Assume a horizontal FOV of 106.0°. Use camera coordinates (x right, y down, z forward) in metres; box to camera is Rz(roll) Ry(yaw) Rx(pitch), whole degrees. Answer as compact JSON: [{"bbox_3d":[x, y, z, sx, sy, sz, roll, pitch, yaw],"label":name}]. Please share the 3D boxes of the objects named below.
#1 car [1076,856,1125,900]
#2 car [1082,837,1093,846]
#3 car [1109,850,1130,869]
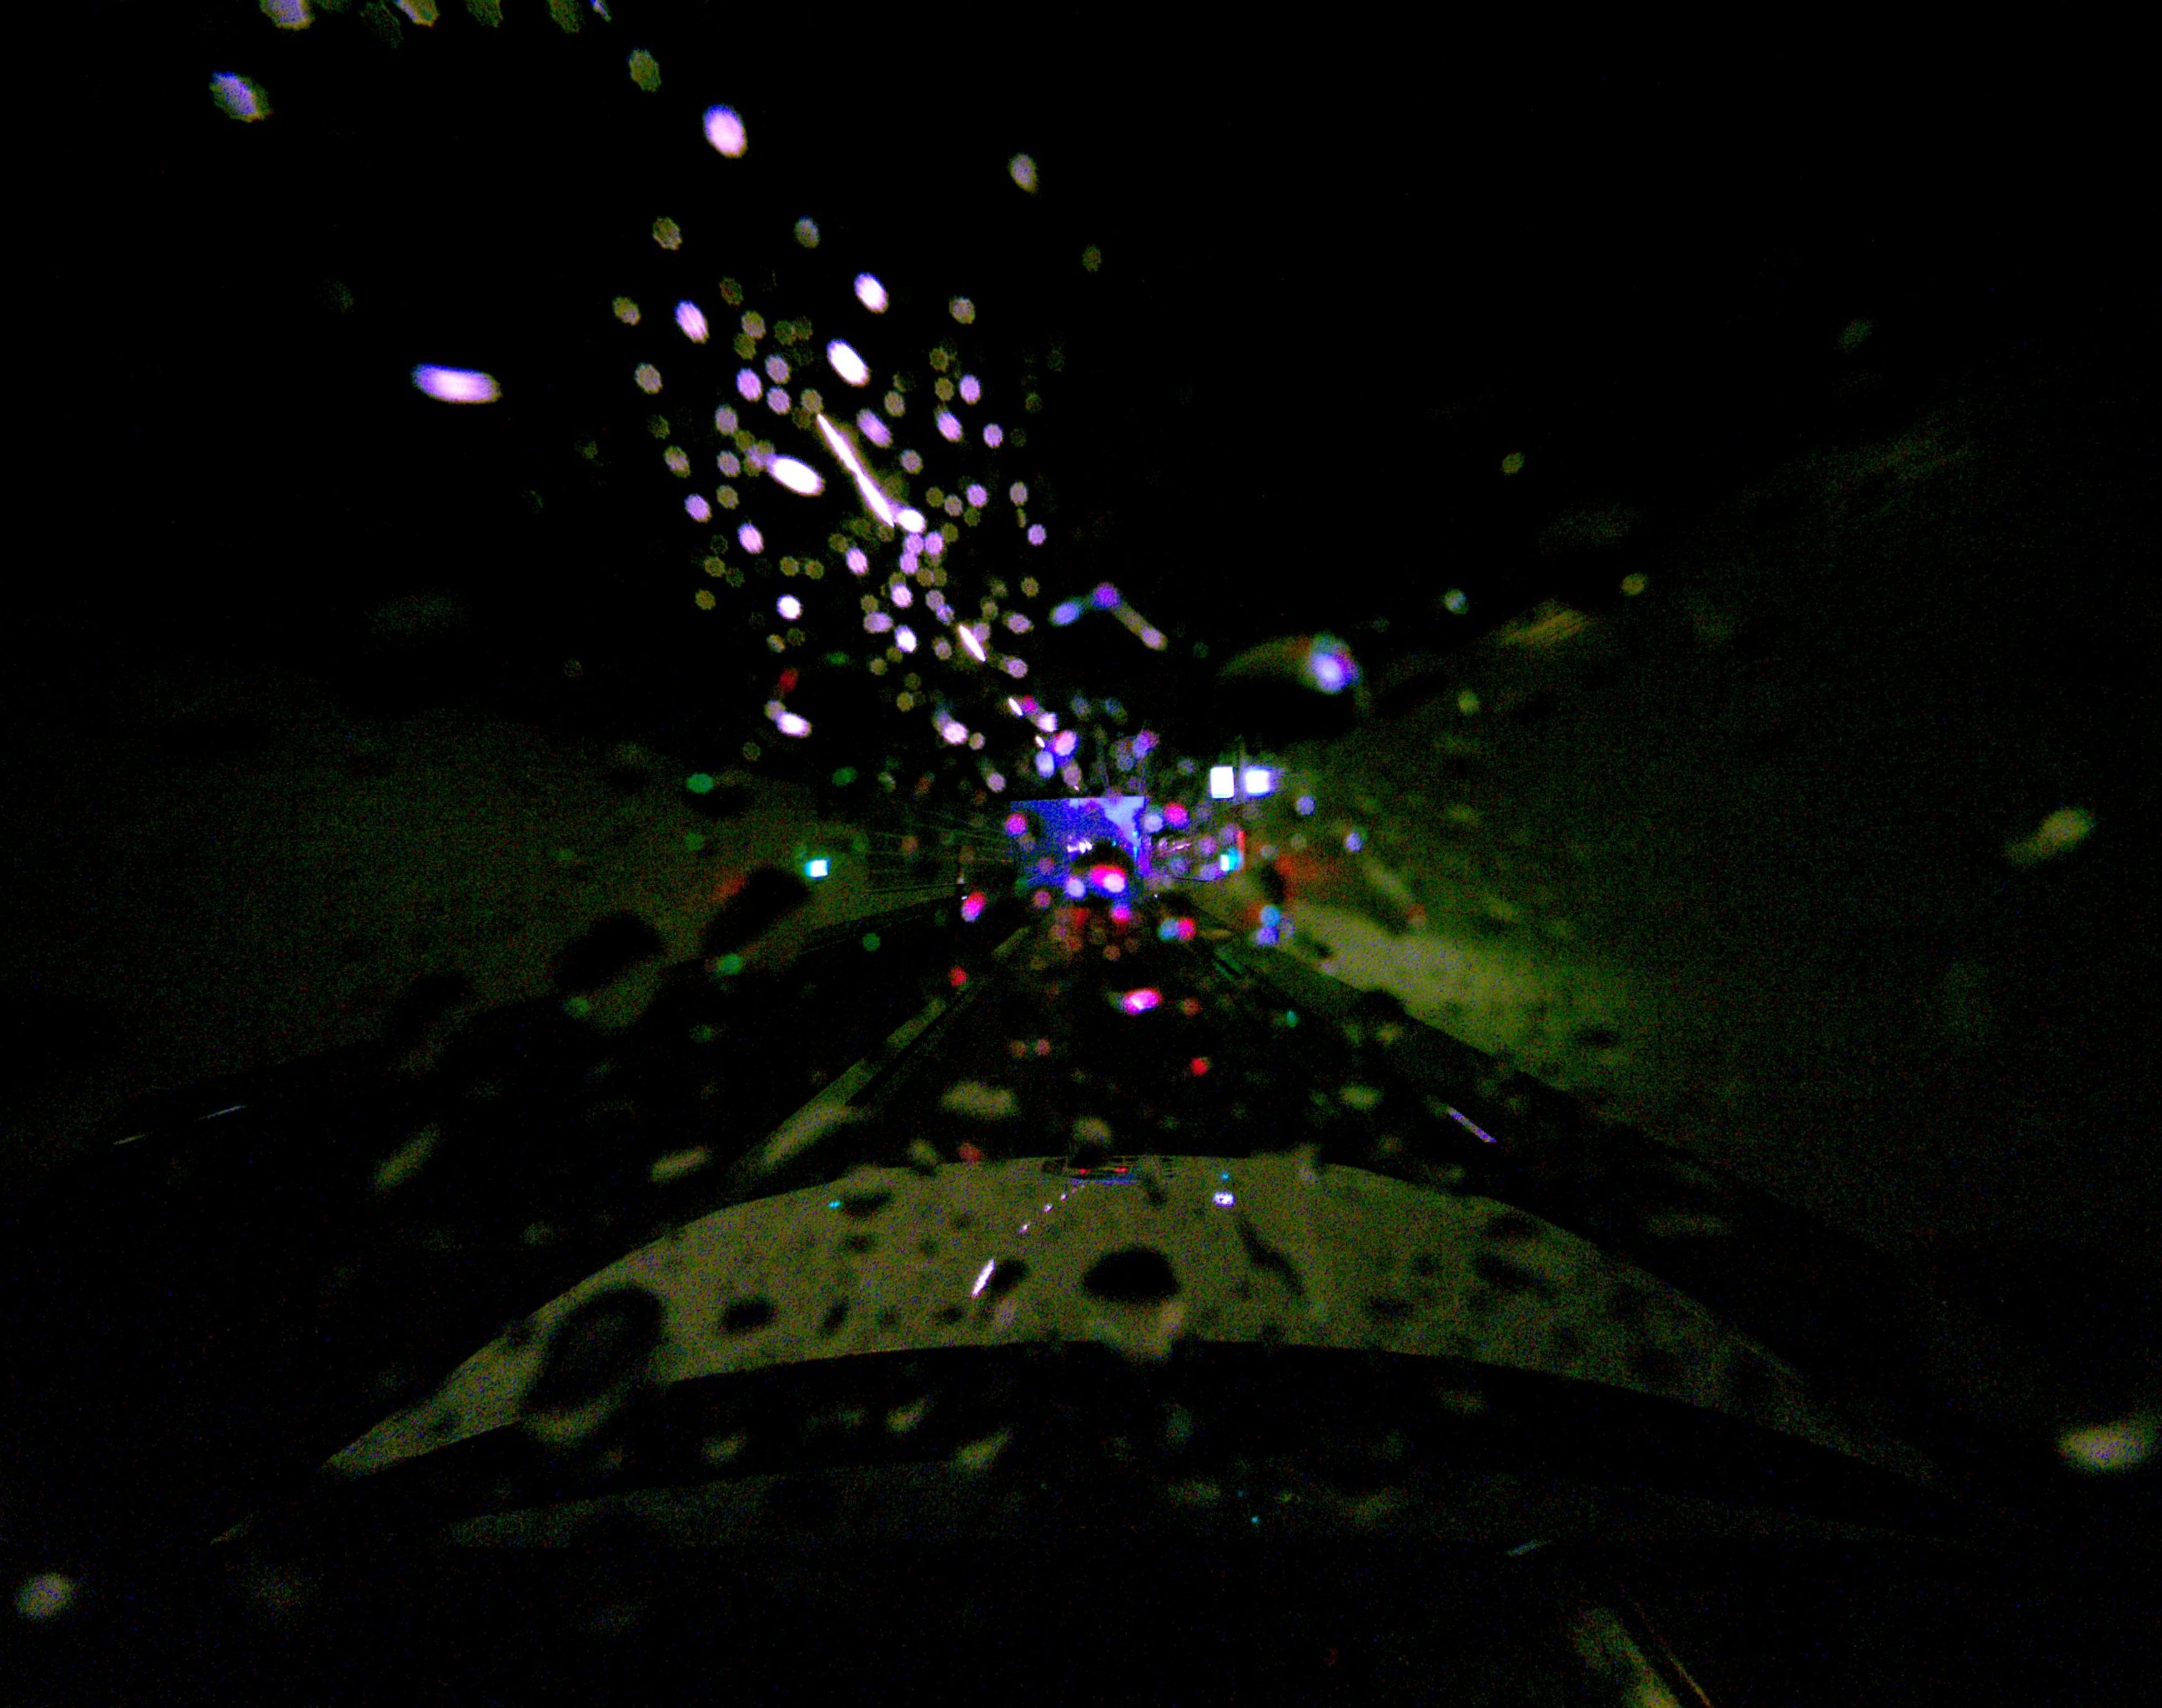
[{"bbox_3d":[0.646,0.771,27.351,1.526,1.397,3.434,-1,-1,1],"label":"car"},{"bbox_3d":[1.266,-2.378,157.991,1.872,1.621,4.004,0,-2,4],"label":"car"},{"bbox_3d":[3.488,0.507,74.573,1.873,1.621,4.001,0,-1,2],"label":"car"}]
